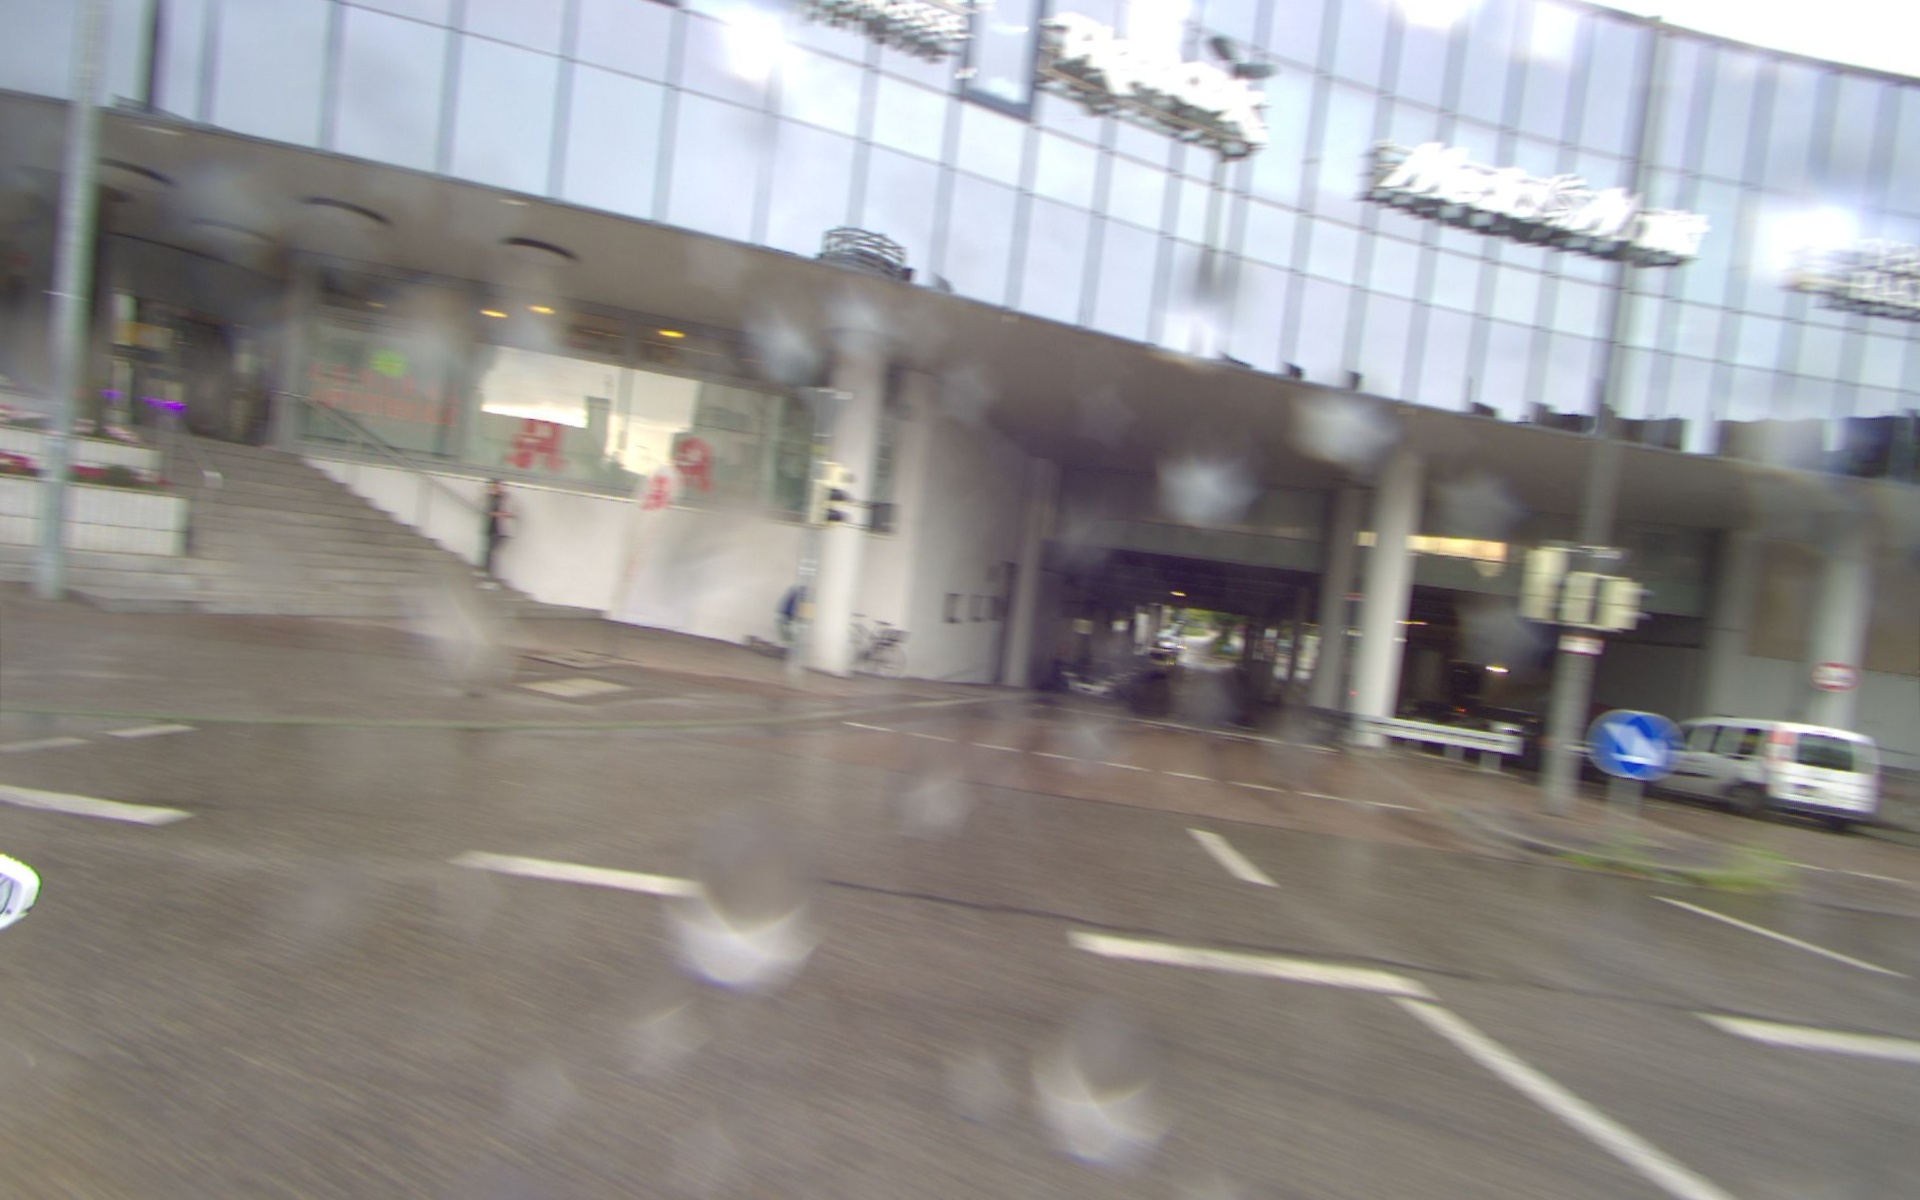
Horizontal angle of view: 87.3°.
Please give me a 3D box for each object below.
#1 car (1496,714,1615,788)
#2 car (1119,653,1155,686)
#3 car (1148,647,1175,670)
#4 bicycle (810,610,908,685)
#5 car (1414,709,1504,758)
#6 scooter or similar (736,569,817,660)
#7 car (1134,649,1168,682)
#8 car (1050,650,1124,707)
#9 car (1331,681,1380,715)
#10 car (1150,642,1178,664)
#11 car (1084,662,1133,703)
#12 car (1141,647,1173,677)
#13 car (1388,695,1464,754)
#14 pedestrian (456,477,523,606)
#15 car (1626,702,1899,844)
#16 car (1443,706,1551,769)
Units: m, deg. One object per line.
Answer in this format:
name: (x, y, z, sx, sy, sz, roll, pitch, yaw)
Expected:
car: (15.775, 3.954, 26.859, 1.730, 1.480, 3.947, 6, -2, 17)
car: (10.887, 4.202, 61.593, 1.884, 1.608, 3.939, 7, 1, 12)
car: (16.068, 4.630, 80.181, 1.962, 1.482, 4.000, 7, 0, 12)
bicycle: (-1.810, 0.868, 18.107, 1.575, 1.029, 0.447, 13, -1, -35)
car: (18.321, 4.878, 37.135, 1.751, 1.415, 4.009, 7, -4, 10)
scooter or similar: (-3.181, 0.253, 17.404, 1.153, 1.390, 0.487, 8, 2, -19)
car: (12.574, 4.272, 66.408, 1.807, 1.749, 4.000, 7, 1, 8)
car: (4.169, 2.551, 32.514, 1.862, 1.485, 4.035, 7, -3, 13)
car: (24.372, 6.037, 62.118, 1.858, 1.510, 3.841, 9, 1, 10)
car: (17.283, 4.463, 85.340, 1.962, 1.482, 4.001, 7, 0, 9)
car: (6.597, 3.596, 44.407, 1.742, 1.481, 3.879, 7, -1, 12)
car: (14.020, 4.365, 71.414, 1.962, 1.684, 4.001, 9, 1, 12)
car: (19.122, 5.079, 41.468, 1.763, 1.793, 4.001, 7, 1, 11)
pedestrian: (-7.509, -0.919, 16.064, 0.647, 1.933, 0.593, 7, 2, -12)
car: (14.904, 3.118, 19.065, 1.895, 1.819, 4.299, 7, 0, 7)
car: (16.742, 4.251, 31.580, 1.607, 1.628, 4.274, 6, -5, 10)
